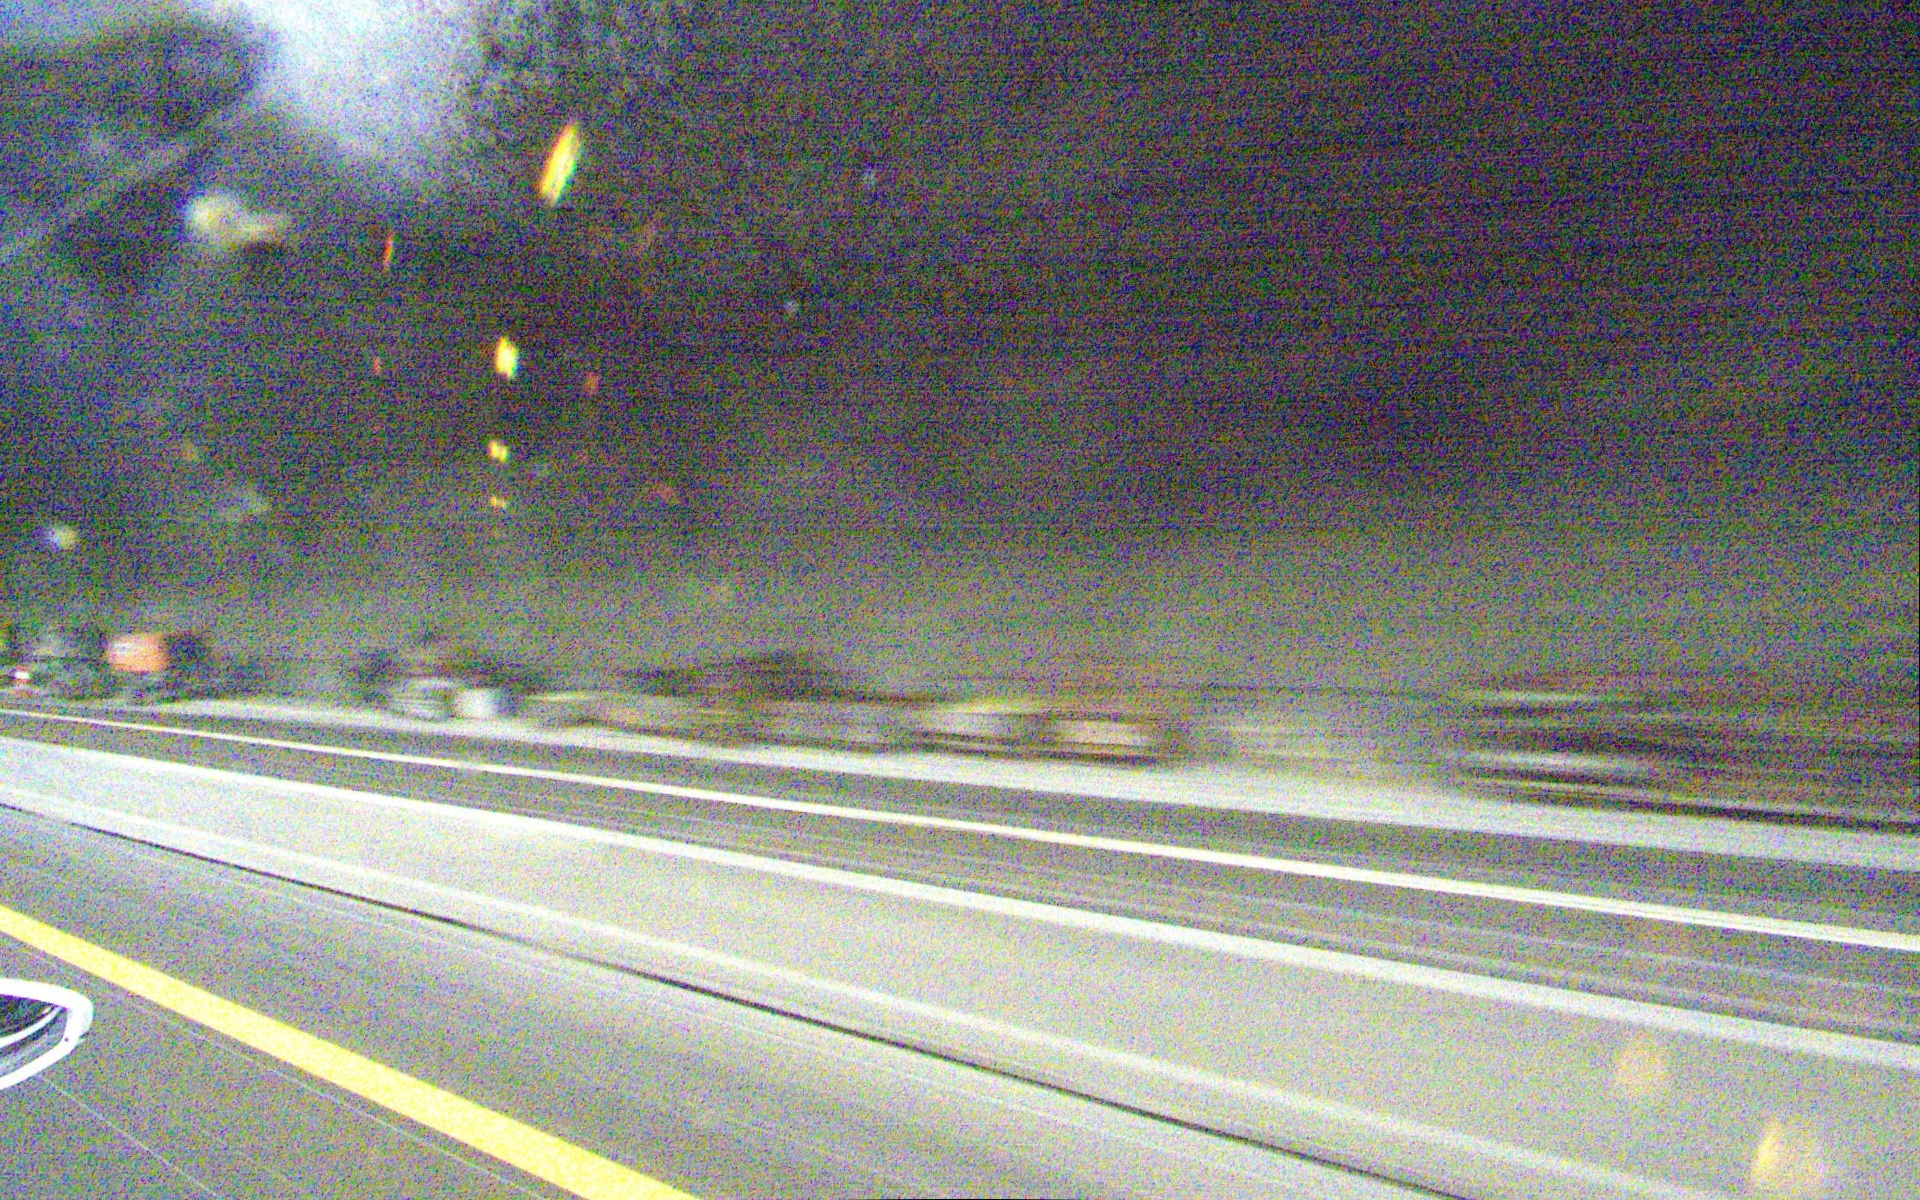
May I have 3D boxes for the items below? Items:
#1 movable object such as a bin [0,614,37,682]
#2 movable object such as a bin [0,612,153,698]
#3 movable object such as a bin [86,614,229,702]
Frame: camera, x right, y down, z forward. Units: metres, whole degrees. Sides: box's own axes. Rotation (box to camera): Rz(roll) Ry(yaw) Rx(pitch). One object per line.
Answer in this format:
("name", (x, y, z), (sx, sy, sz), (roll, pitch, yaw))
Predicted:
("movable object such as a bin", (-25.718, 1.258, 26.217), (3.011, 1.731, 1.553), (-1, -1, 32))
("movable object such as a bin", (-20.553, 1.169, 22.888), (4.437, 1.698, 1.855), (0, 3, 32))
("movable object such as a bin", (-16.412, 1.132, 20.462), (3.011, 1.616, 1.299), (0, 3, 32))
